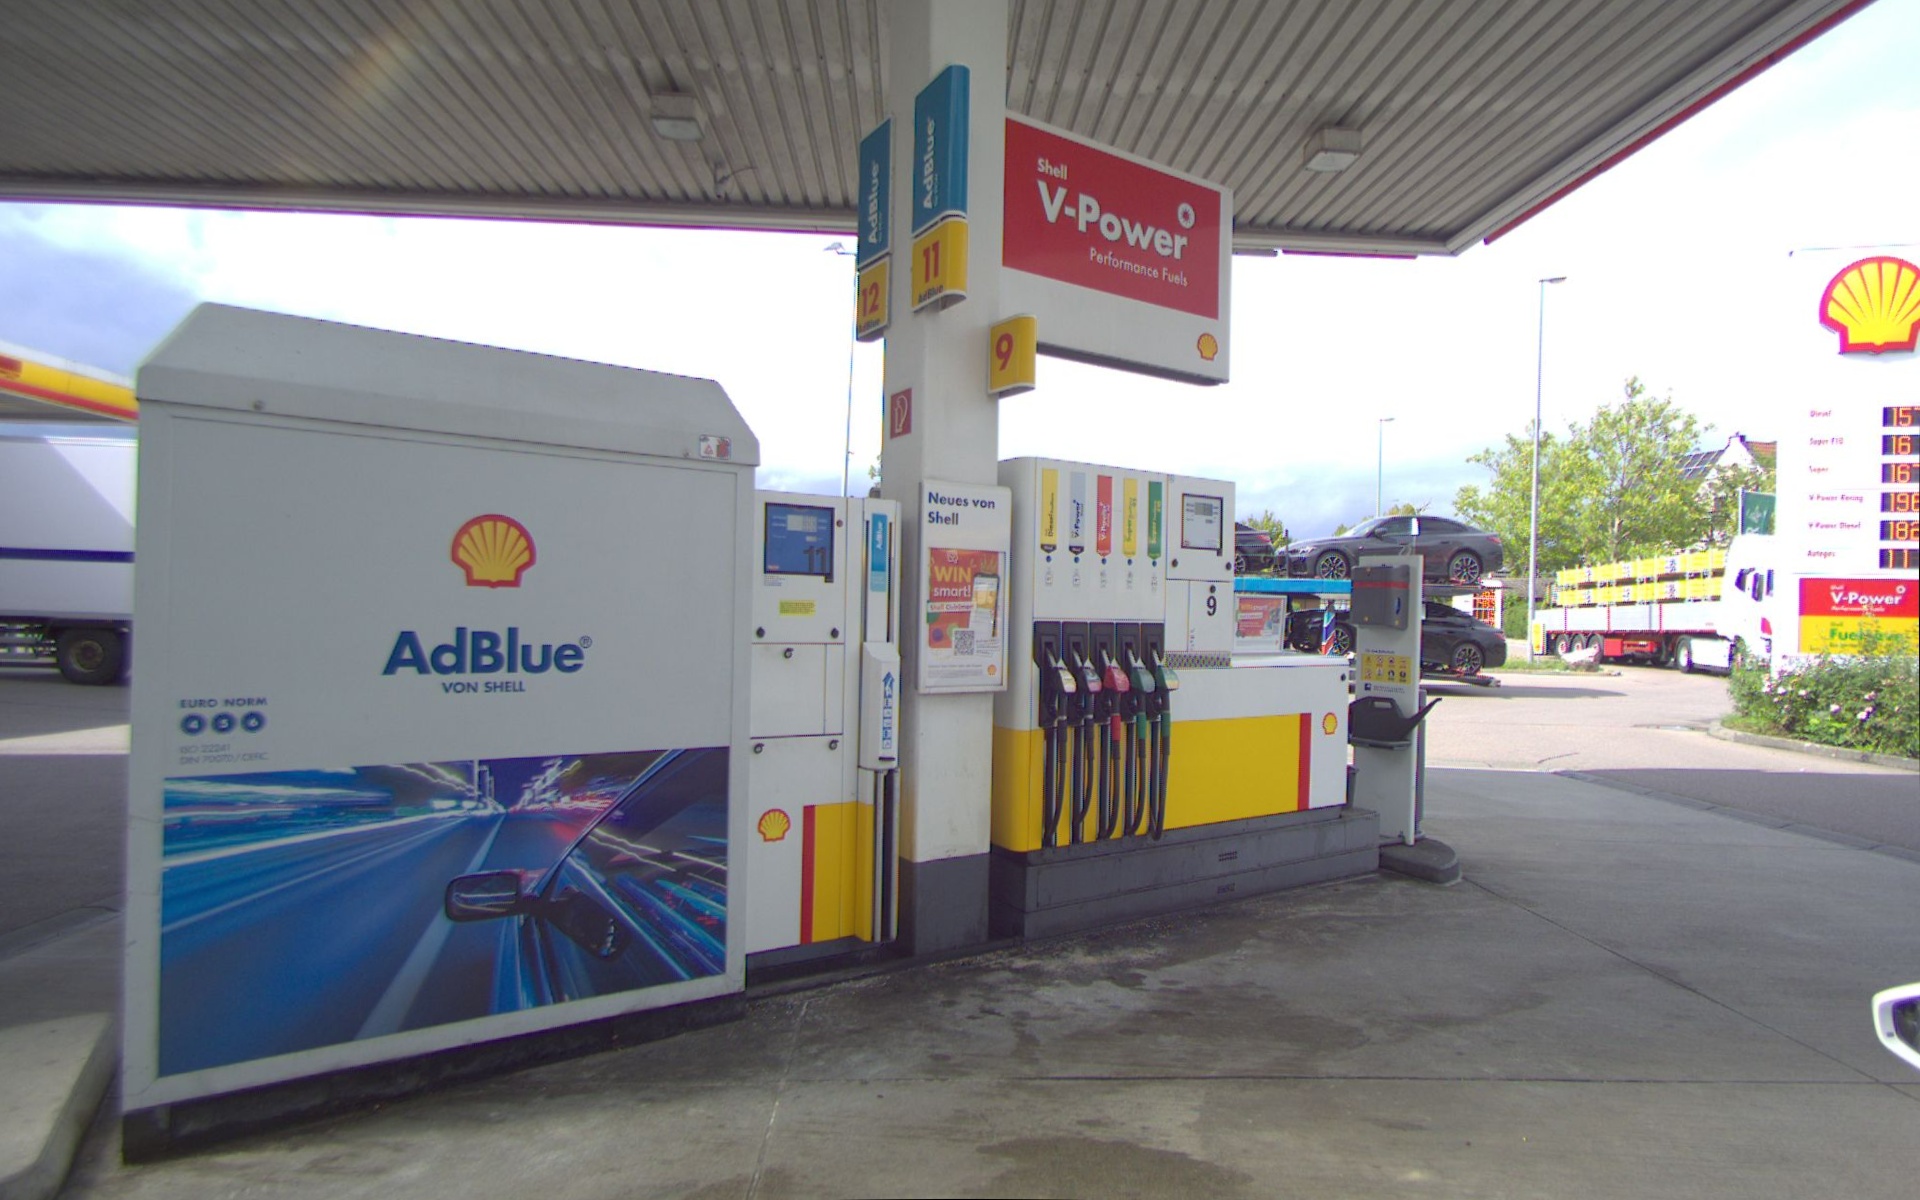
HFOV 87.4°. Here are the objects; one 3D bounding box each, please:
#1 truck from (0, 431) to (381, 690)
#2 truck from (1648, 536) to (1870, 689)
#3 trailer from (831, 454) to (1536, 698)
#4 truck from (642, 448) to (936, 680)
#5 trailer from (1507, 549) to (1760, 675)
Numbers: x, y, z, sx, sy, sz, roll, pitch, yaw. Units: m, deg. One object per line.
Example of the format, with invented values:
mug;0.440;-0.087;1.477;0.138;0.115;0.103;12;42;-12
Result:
truck;-17.313;-0.747;17.504;12.654;4.092;2.534;2;0;-3
truck;22.699;0.335;28.988;2.686;3.897;5.922;2;0;14
trailer;4.513;-0.476;21.590;14.077;4.481;2.746;2;0;0
truck;-3.462;-0.713;21.551;5.713;4.479;2.750;2;0;0
trailer;24.337;0.426;37.520;2.684;3.826;12.721;2;0;9
